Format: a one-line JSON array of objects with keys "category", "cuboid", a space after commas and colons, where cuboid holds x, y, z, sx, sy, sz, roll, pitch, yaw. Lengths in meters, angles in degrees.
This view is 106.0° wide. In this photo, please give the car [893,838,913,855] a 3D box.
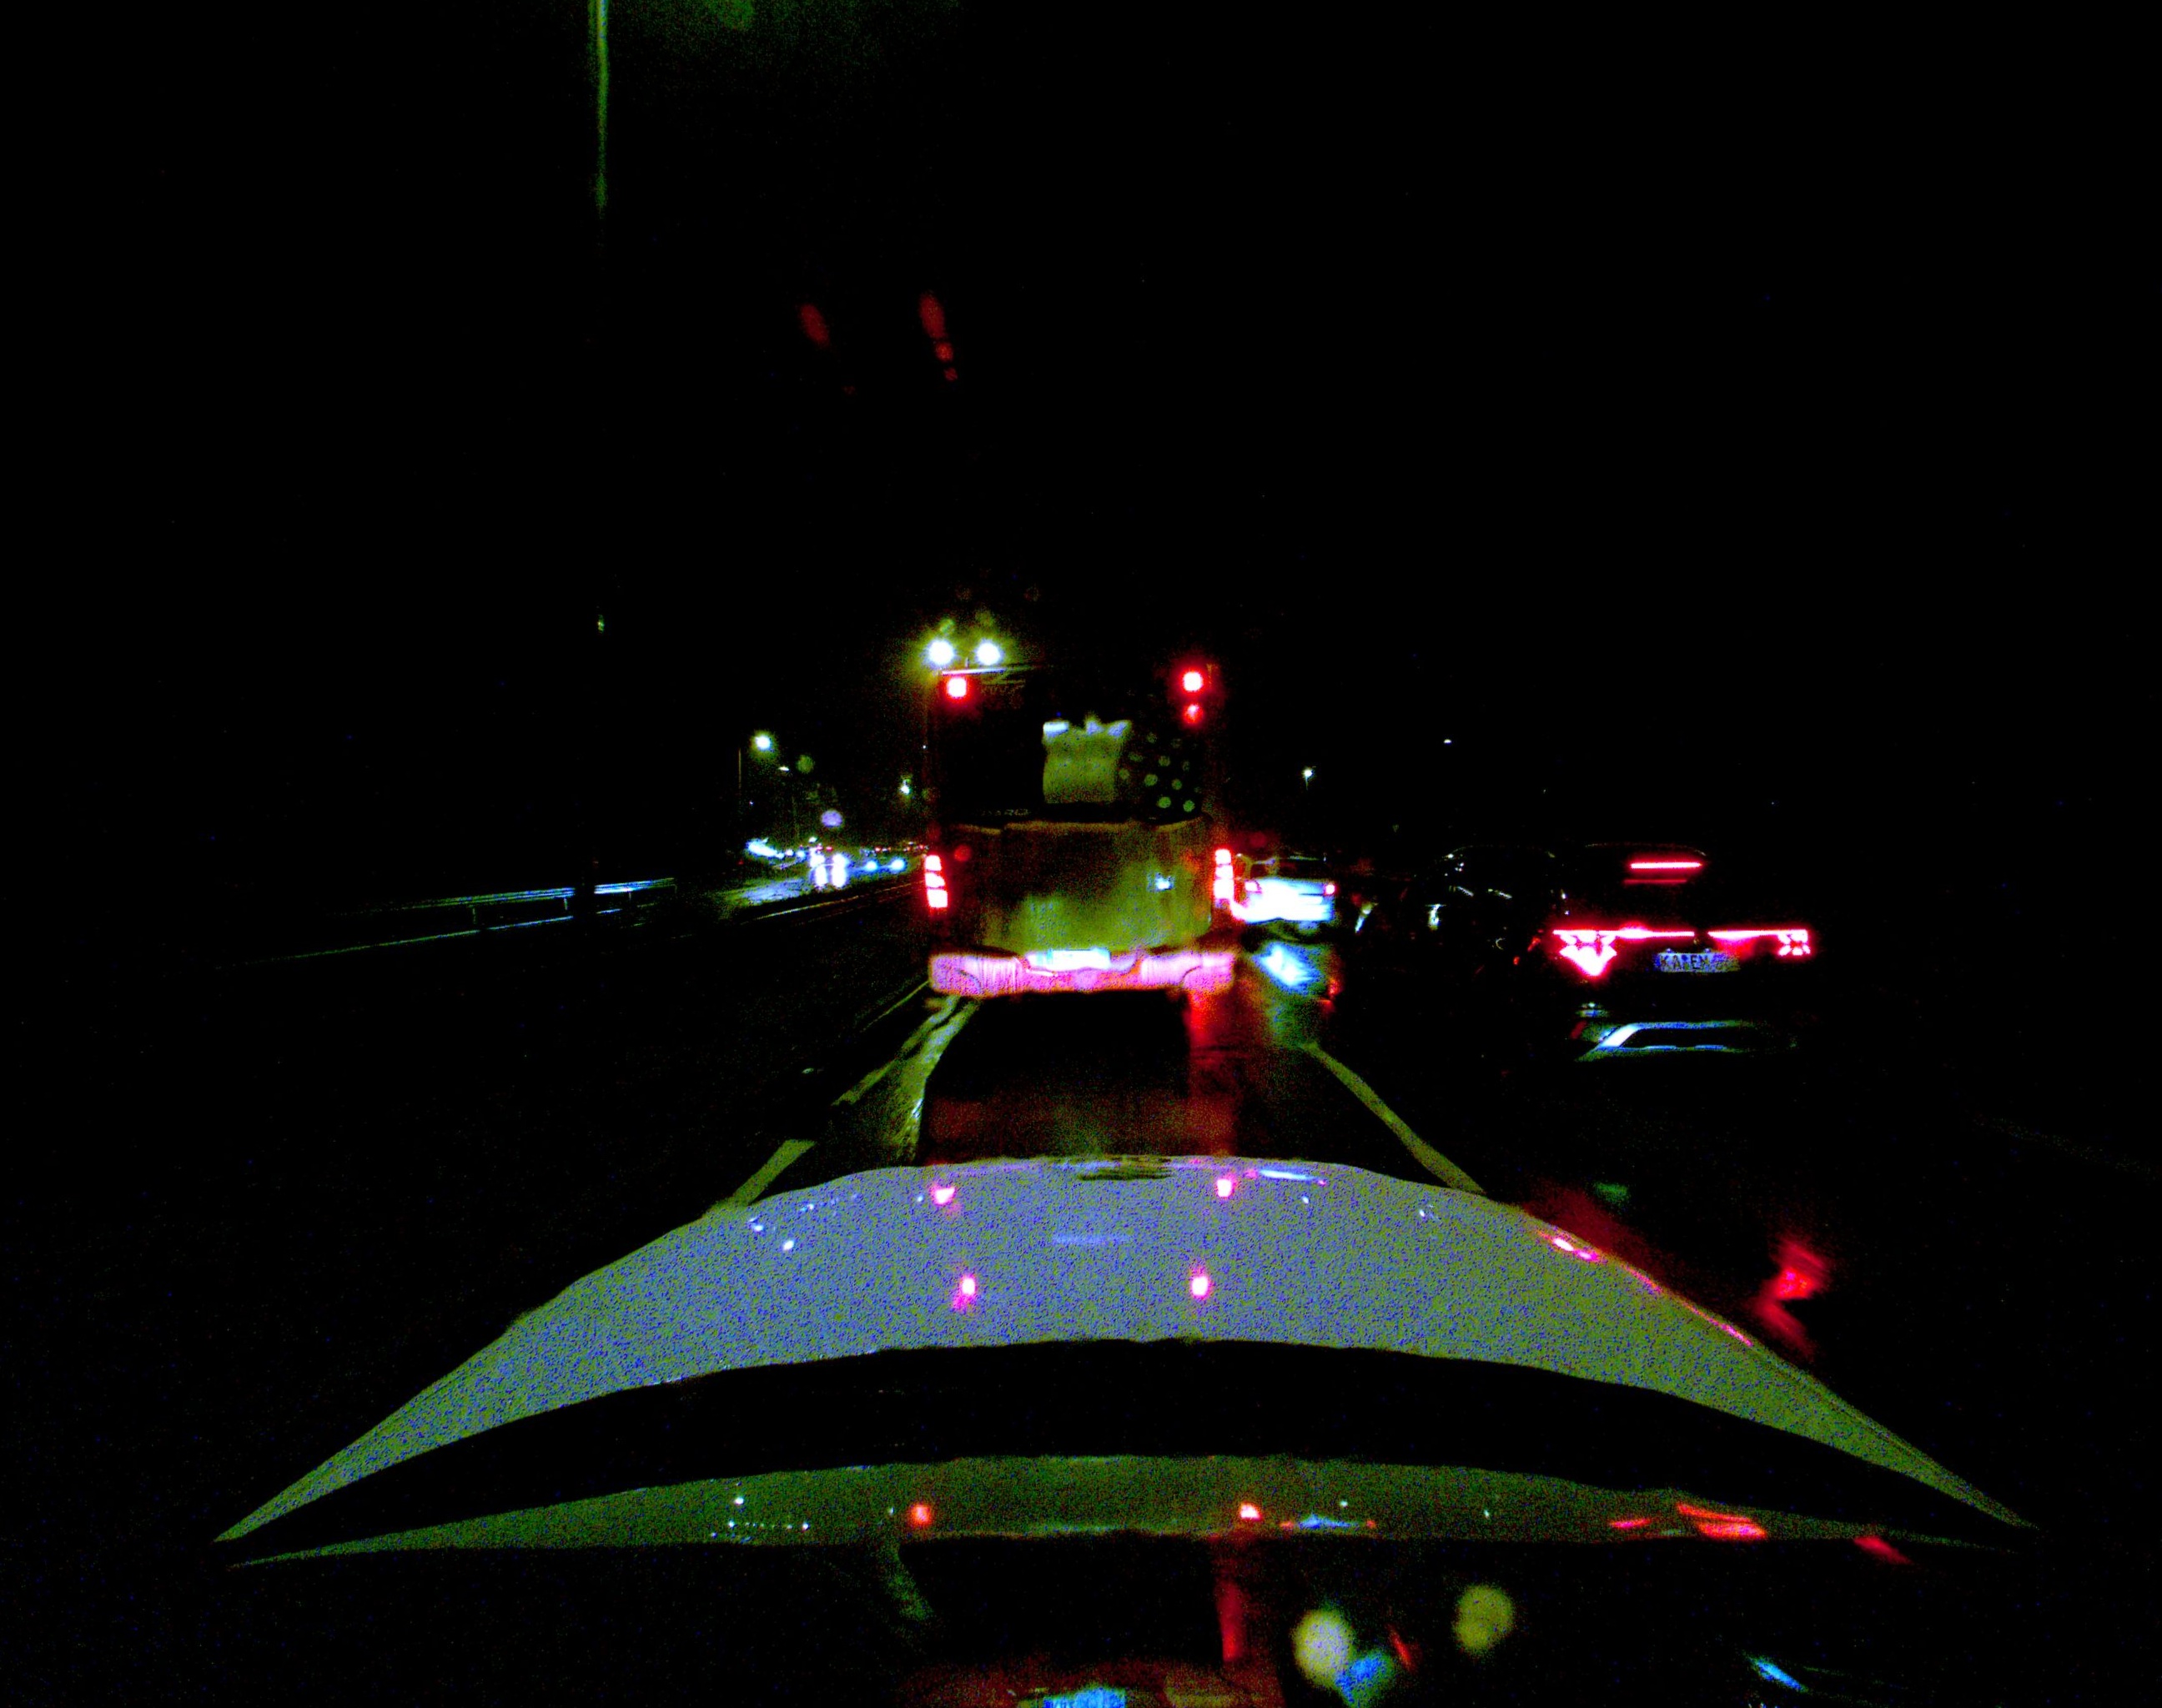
[{"category": "car", "cuboid": [-22.279, -0.972, 101.987, 2.121, 2.014, 3.987, 1, -1, -9]}]

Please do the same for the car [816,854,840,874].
[{"category": "car", "cuboid": [-21.930, 0.828, 70.667, 1.790, 1.706, 3.979, -1, 0, -15]}]

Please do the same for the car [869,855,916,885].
[{"category": "car", "cuboid": [-10.021, 0.810, 43.512, 1.991, 1.486, 3.991, -1, 0, -6]}]

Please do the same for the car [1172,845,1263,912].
[{"category": "car", "cuboid": [3.497, 0.589, 21.564, 1.813, 1.590, 3.777, -1, 0, 1]}]

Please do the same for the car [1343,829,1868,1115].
[{"category": "car", "cuboid": [3.527, 0.656, 6.417, 1.733, 1.565, 3.777, 1, 0, 1]}]

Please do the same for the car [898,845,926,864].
[{"category": "car", "cuboid": [-18.137, 0.054, 87.165, 2.003, 2.014, 3.967, 2, -1, -25]}]

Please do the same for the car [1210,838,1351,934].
[{"category": "car", "cuboid": [3.645, 0.542, 15.554, 1.813, 1.590, 3.777, -1, 0, 1]}]

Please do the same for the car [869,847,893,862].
[{"category": "car", "cuboid": [-22.890, 0.011, 93.087, 1.762, 1.631, 3.588, 2, -1, -30]}]

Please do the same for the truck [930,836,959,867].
[{"category": "truck", "cuboid": [-11.647, -0.275, 69.224, 1.860, 2.392, 4.754, -2, 3, -16]}]

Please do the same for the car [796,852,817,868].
[{"category": "car", "cuboid": [-30.979, 0.663, 91.779, 1.795, 1.646, 3.967, -1, 0, -25]}]

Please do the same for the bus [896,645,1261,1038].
[{"category": "bus", "cuboid": [0.142, -0.105, 10.664, 2.804, 3.024, 8.691, 1, 0, 2]}]
